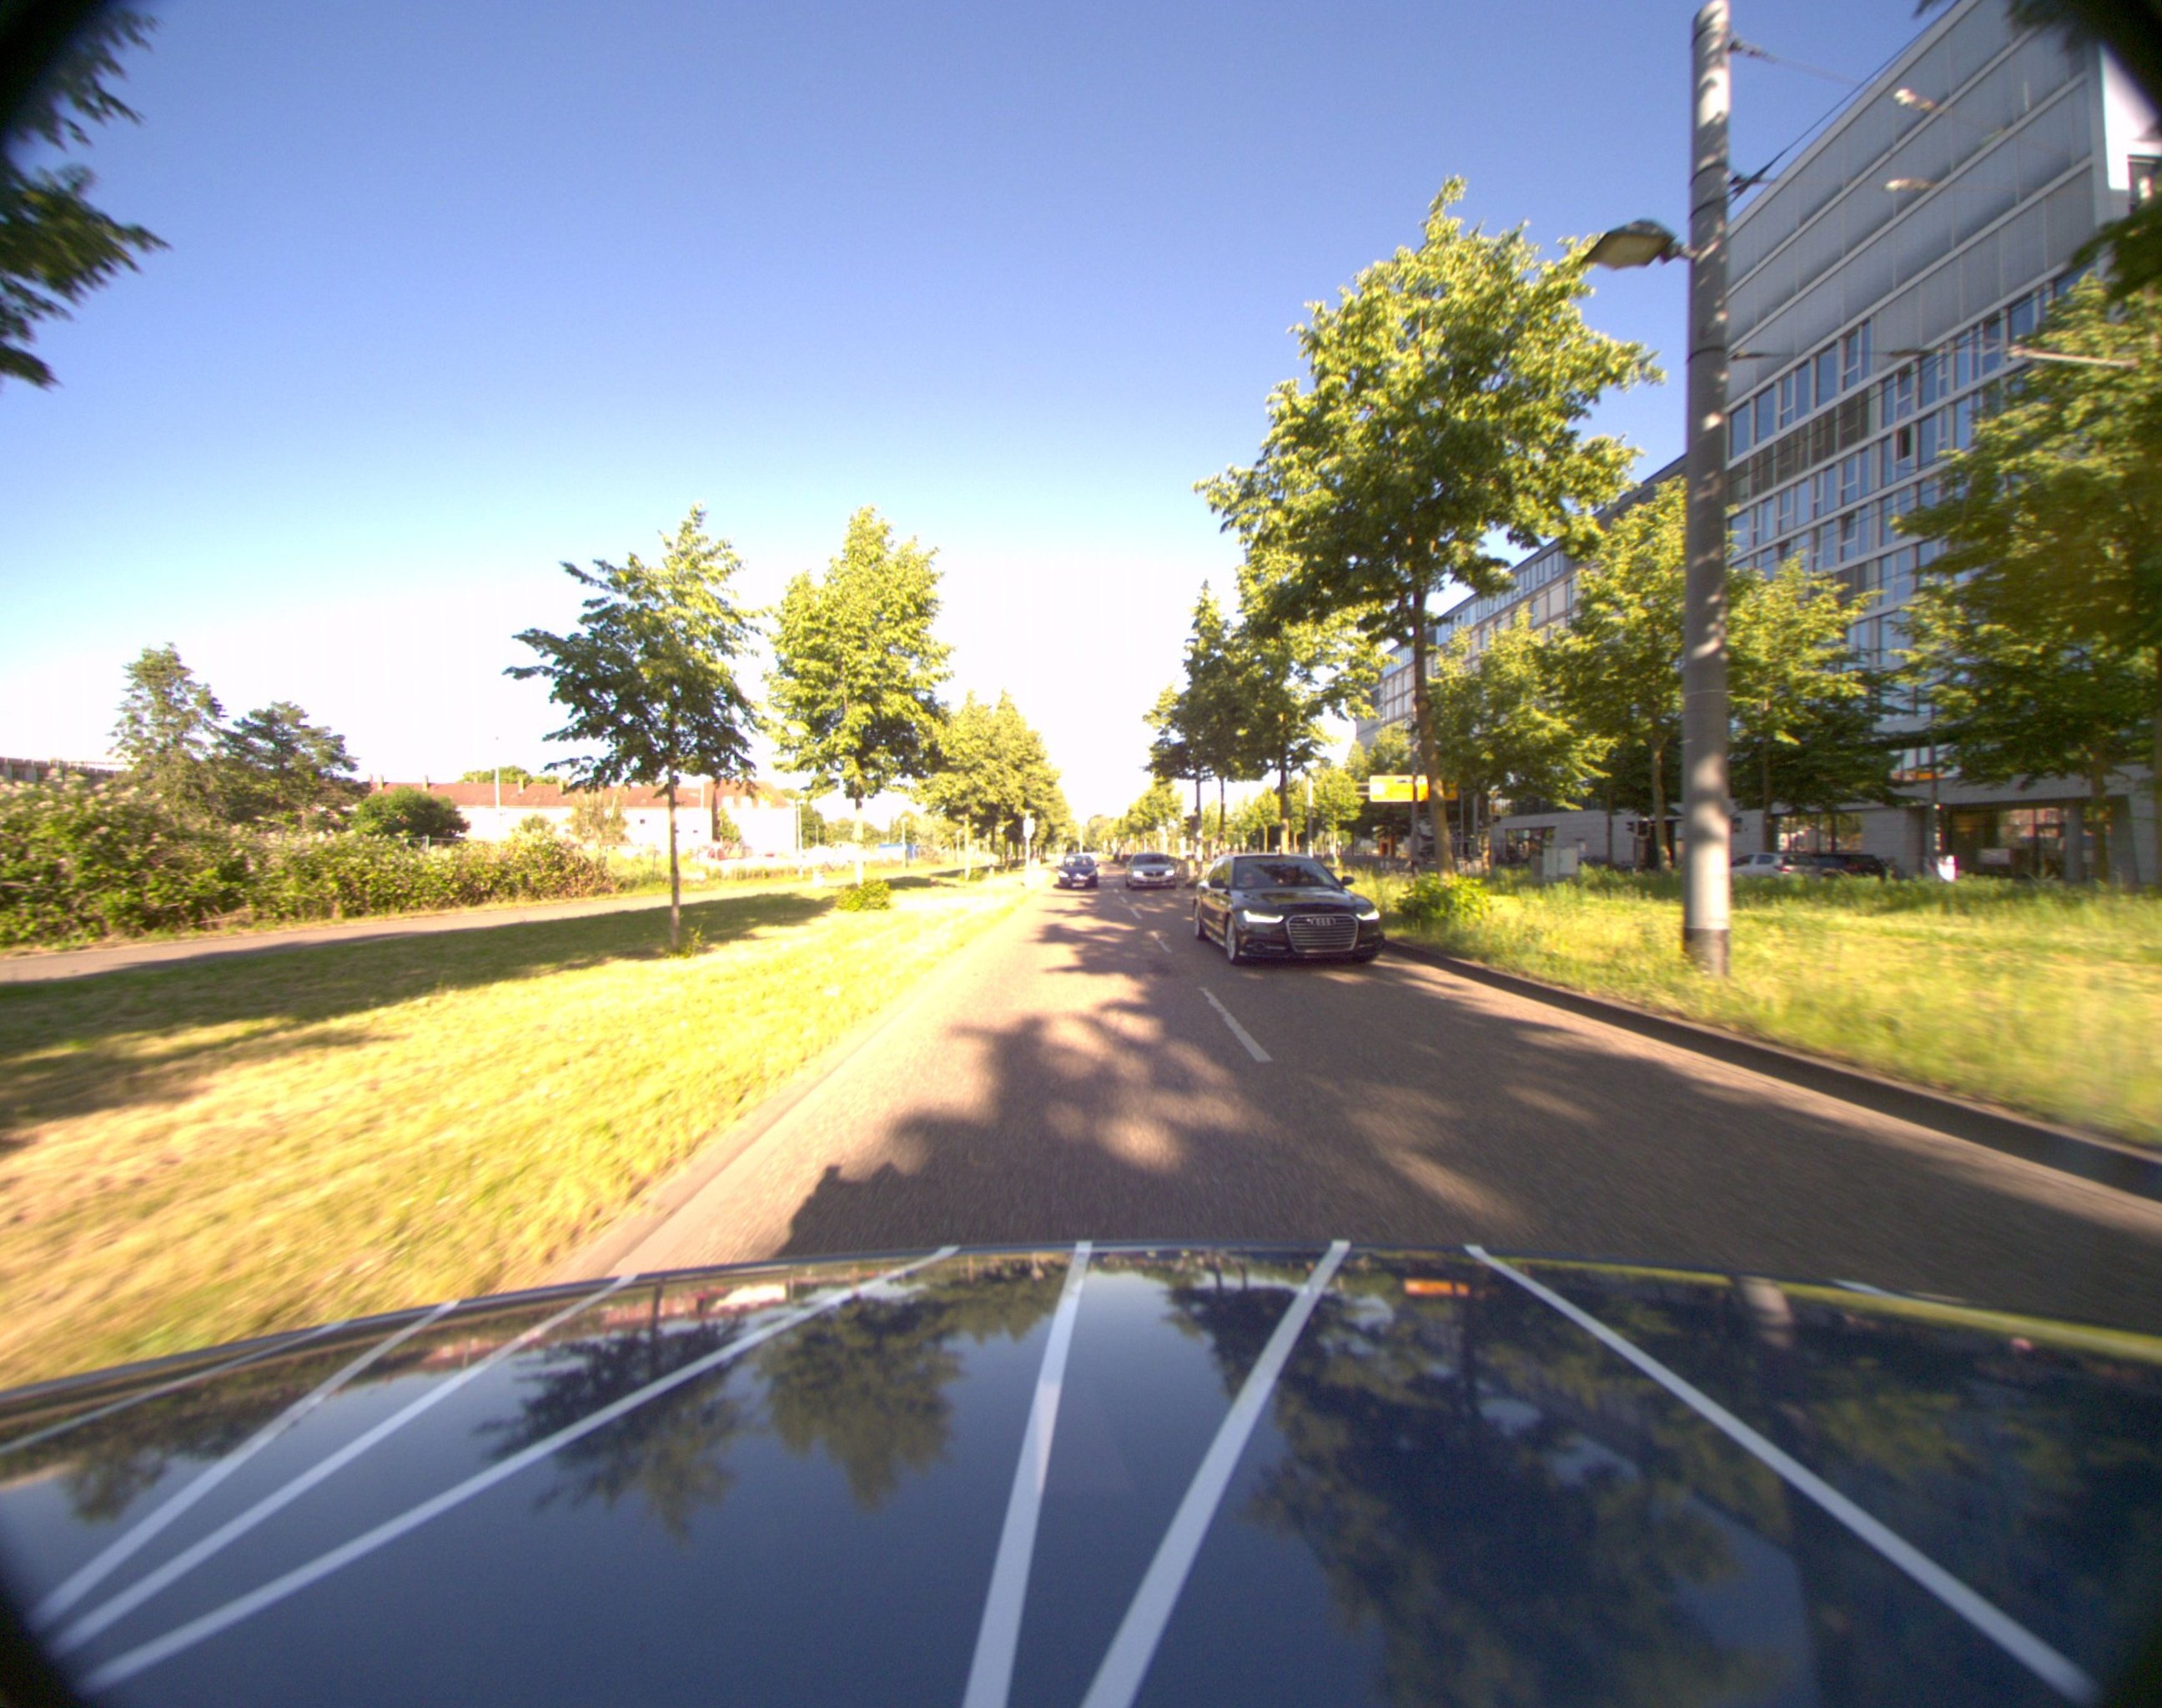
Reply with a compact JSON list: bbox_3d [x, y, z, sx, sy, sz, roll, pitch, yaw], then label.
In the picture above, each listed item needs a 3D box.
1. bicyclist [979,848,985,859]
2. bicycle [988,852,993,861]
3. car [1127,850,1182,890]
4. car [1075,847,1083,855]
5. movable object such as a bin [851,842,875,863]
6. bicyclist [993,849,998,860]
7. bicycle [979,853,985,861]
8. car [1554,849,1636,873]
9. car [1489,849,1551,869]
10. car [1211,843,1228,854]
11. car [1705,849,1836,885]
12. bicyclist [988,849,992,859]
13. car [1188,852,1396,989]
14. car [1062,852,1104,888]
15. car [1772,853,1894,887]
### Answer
[{"bbox_3d":[-13.863,-0.076,106.304,0.654,1.544,0.794,0,1,1],"label":"bicyclist"},{"bbox_3d":[-12.652,0.322,106.063,0.507,1.145,1.605,1,0,0],"label":"bicycle"},{"bbox_3d":[2.984,0.609,31.730,1.849,1.560,4.528,-1,0,0],"label":"car"},{"bbox_3d":[-0.402,-0.572,156.861,1.701,1.555,3.675,-1,1,0],"label":"car"},{"bbox_3d":[-21.394,-0.184,74.669,1.799,2.002,1.789,-1,2,2],"label":"movable object such as a bin"},{"bbox_3d":[-13.210,0.084,117.767,0.593,1.578,0.965,-1,2,-1],"label":"bicyclist"},{"bbox_3d":[-13.851,0.405,106.269,0.657,1.006,1.820,-1,0,1],"label":"bicycle"},{"bbox_3d":[31.260,0.396,46.391,2.004,1.412,4.544,-1,0,1],"label":"car"},{"bbox_3d":[31.575,0.331,54.815,1.963,1.412,4.545,0,0,1],"label":"car"},{"bbox_3d":[23.141,-0.906,127.024,1.998,1.739,4.227,0,0,0],"label":"car"},{"bbox_3d":[25.789,0.449,28.571,1.773,1.231,3.484,-1,0,0],"label":"car"},{"bbox_3d":[-12.672,-0.010,106.082,0.504,1.464,0.833,0,1,0],"label":"bicyclist"},{"bbox_3d":[2.778,0.770,11.130,1.788,1.518,4.601,-2,0,1],"label":"car"},{"bbox_3d":[0.088,0.698,34.486,1.763,1.506,3.948,-1,0,0],"label":"car"},{"bbox_3d":[31.307,0.641,31.782,1.654,1.228,3.464,-1,2,0],"label":"car"}]
